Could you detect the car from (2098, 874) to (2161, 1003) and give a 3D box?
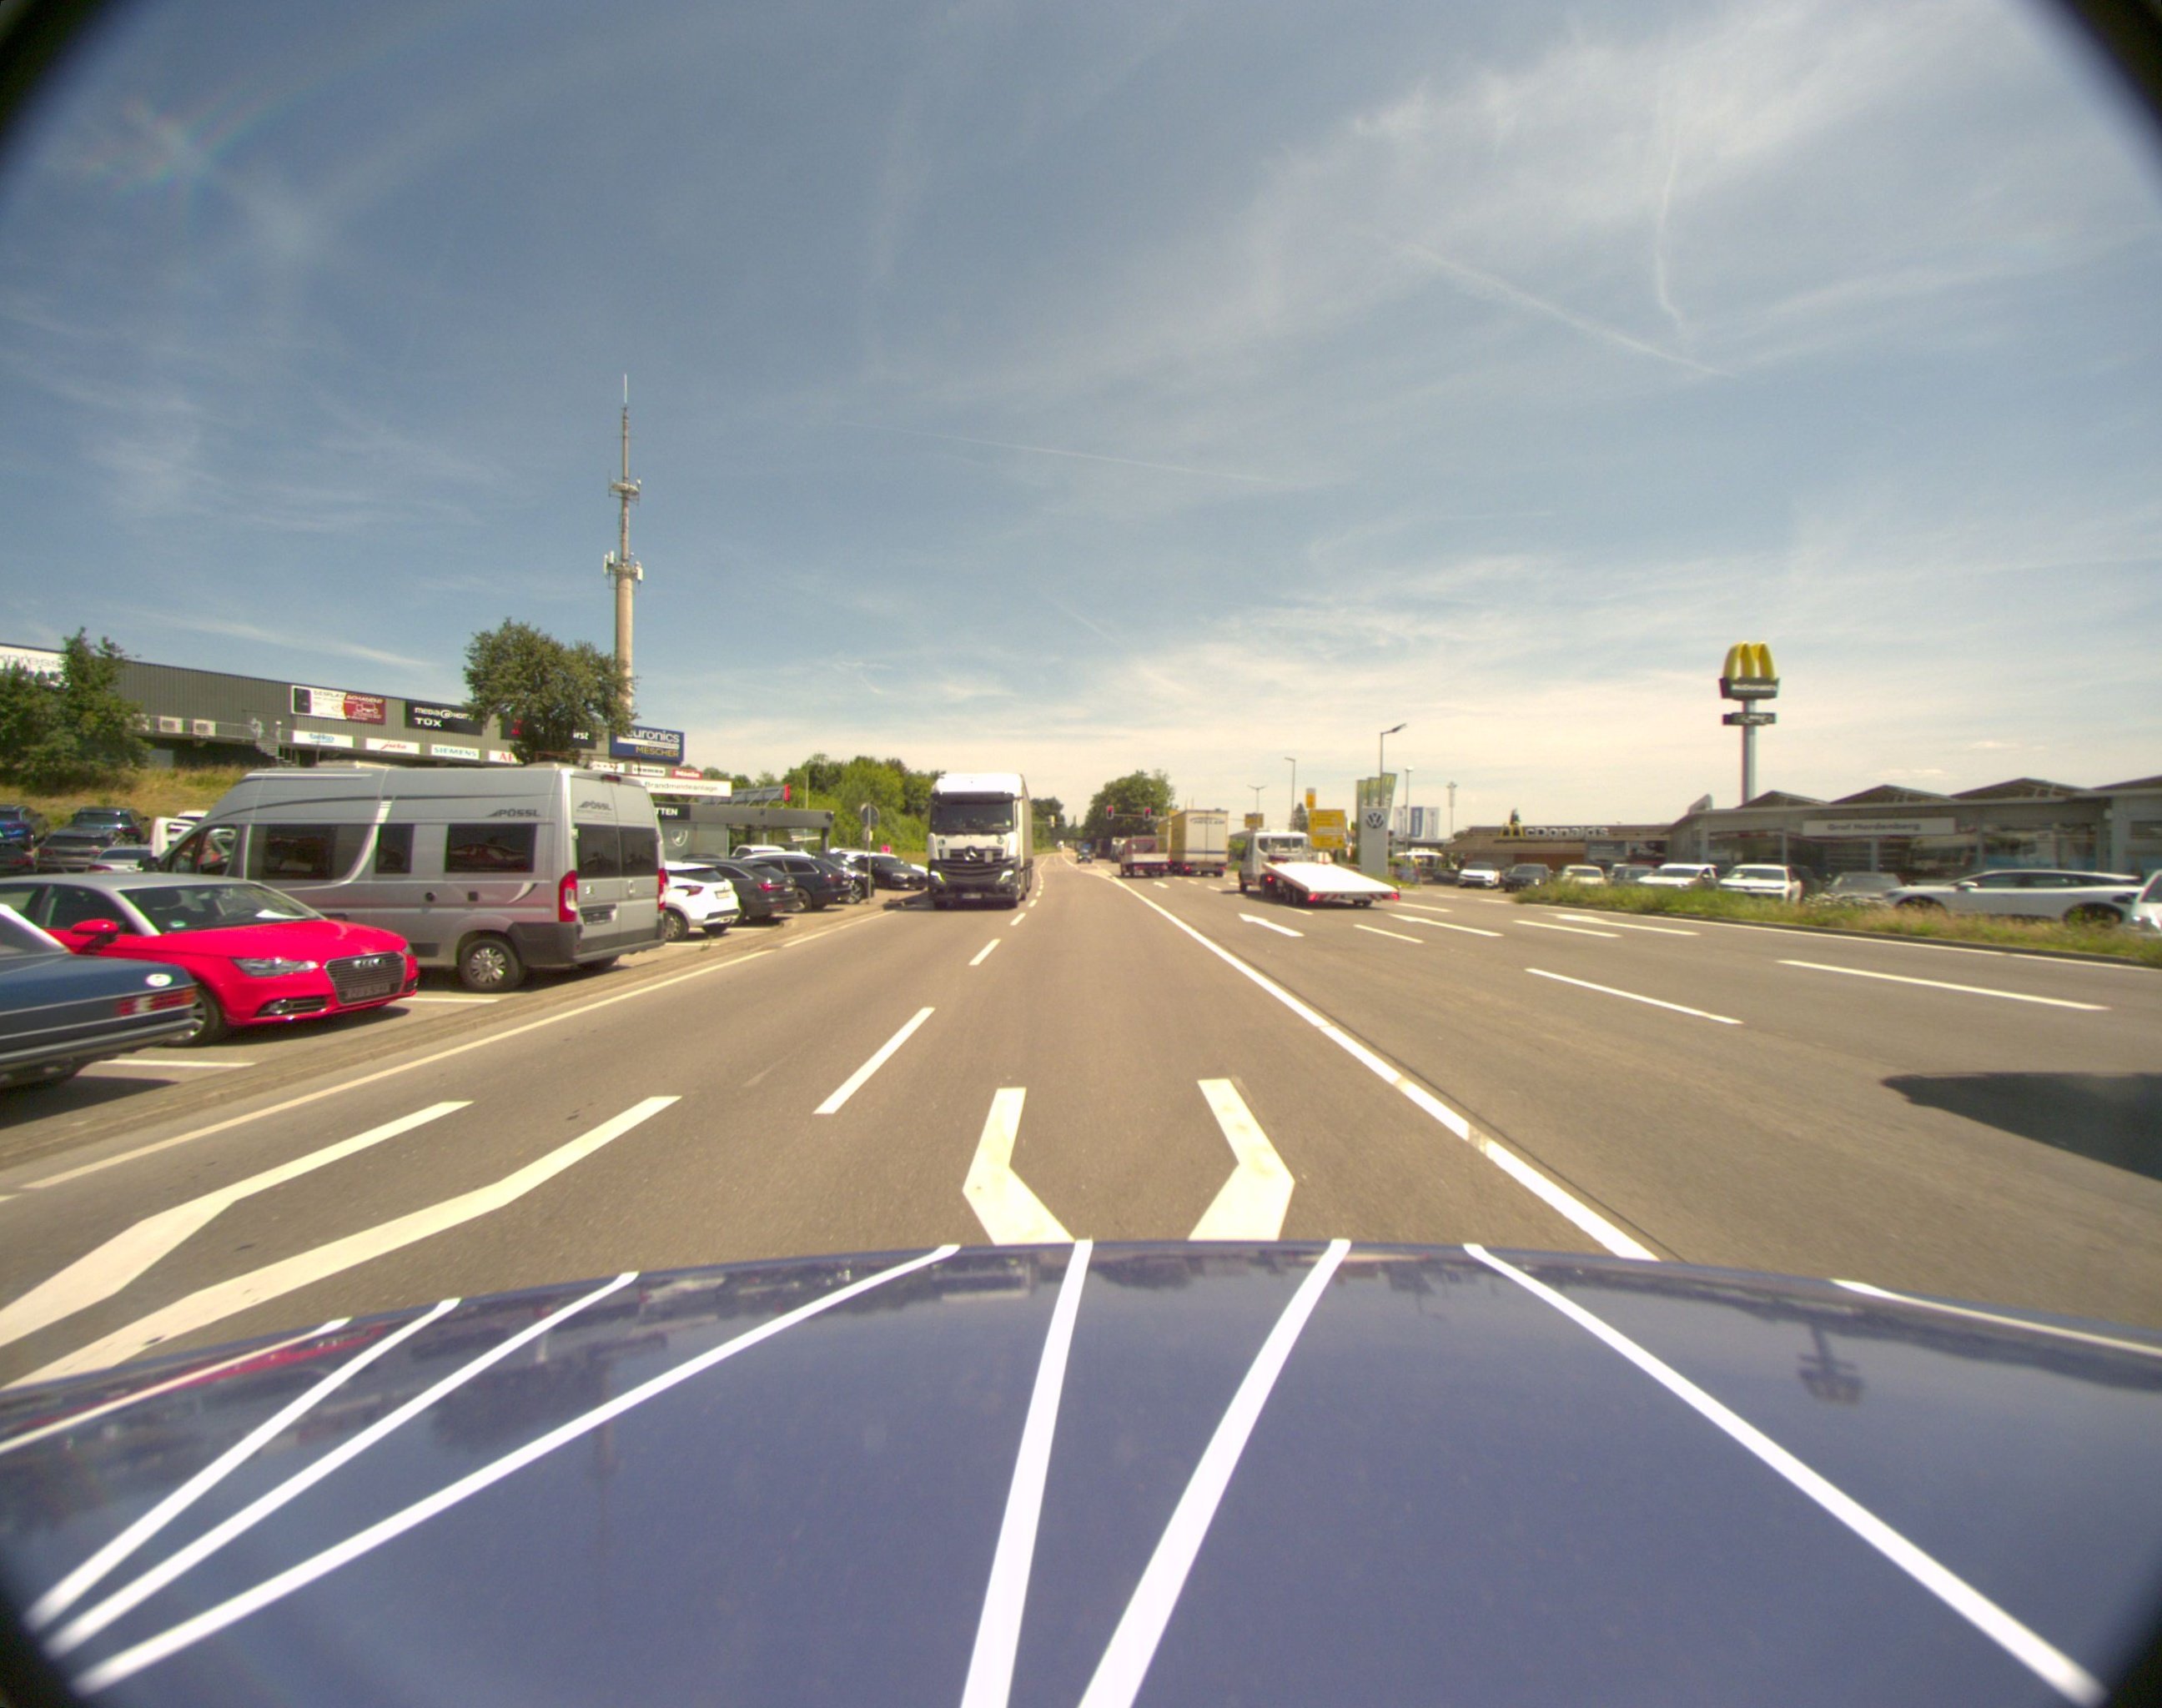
[{"bbox_3d":[16.983,1.214,11.282,3.875,1.740,1.870,0,1,-31],"label":"car"}]

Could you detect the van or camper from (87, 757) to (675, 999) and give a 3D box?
[{"bbox_3d":[-8.581,0.277,9.762,5.488,2.714,2.232,0,1,2],"label":"van or camper"}]

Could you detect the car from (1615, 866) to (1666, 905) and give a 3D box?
[{"bbox_3d":[23.528,1.274,32.007,1.608,1.471,4.112,1,1,36],"label":"car"}]

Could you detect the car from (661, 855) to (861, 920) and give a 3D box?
[{"bbox_3d":[-8.243,0.830,19.941,4.338,1.490,2.081,-1,1,-3],"label":"car"}]

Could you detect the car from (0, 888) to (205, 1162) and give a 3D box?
[{"bbox_3d":[-8.436,1.000,4.463,4.525,1.510,1.782,0,1,1],"label":"car"}]

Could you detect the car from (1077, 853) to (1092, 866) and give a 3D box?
[{"bbox_3d":[0.475,0.727,103.770,1.928,1.601,4.509,-1,1,-1],"label":"car"}]

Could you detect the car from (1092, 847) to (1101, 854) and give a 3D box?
[{"bbox_3d":[3.261,-0.746,157.797,1.688,1.489,3.954,3,1,0],"label":"car"}]

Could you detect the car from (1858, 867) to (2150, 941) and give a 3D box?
[{"bbox_3d":[23.764,1.188,19.807,1.827,1.565,4.665,0,1,-37],"label":"car"}]

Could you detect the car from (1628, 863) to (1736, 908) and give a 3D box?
[{"bbox_3d":[22.404,1.128,28.289,4.147,1.536,1.818,0,1,-32],"label":"car"}]

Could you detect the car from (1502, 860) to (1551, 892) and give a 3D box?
[{"bbox_3d":[22.779,1.073,38.763,1.772,1.471,4.009,1,1,36],"label":"car"}]

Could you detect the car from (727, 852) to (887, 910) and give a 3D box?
[{"bbox_3d":[-8.340,0.757,23.170,4.346,1.615,2.057,0,1,-28],"label":"car"}]

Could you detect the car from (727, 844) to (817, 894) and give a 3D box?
[{"bbox_3d":[-12.497,0.539,30.571,1.858,1.704,4.135,1,3,-45],"label":"car"}]

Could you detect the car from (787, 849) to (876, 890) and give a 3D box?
[{"bbox_3d":[-10.602,0.613,32.165,1.858,1.412,4.152,1,3,-45],"label":"car"}]

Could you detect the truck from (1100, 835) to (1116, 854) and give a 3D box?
[{"bbox_3d":[5.896,-2.192,167.209,2.851,3.932,17.083,0,1,0],"label":"truck"}]

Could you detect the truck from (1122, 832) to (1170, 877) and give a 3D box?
[{"bbox_3d":[3.833,-0.019,46.064,2.402,2.431,6.871,-1,1,1],"label":"truck"}]

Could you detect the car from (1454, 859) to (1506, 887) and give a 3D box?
[{"bbox_3d":[23.035,1.054,43.802,2.121,1.471,4.009,1,1,36],"label":"car"}]

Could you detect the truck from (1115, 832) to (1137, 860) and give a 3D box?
[{"bbox_3d":[6.808,-1.227,117.876,2.611,3.995,15.129,-1,0,1],"label":"truck"}]

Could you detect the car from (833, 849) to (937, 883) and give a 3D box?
[{"bbox_3d":[-9.526,0.594,37.063,4.486,1.401,1.741,4,-1,-33],"label":"car"}]

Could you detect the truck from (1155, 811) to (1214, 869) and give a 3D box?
[{"bbox_3d":[7.713,-1.011,57.848,3.036,4.081,10.353,0,1,0],"label":"truck"}]

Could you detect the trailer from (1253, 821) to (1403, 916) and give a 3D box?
[{"bbox_3d":[7.021,0.330,22.692,2.434,2.325,6.897,1,1,2],"label":"trailer"}]

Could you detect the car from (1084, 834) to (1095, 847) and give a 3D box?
[{"bbox_3d":[2.859,-4.431,244.694,3.351,4.057,7.692,0,1,2],"label":"car"}]

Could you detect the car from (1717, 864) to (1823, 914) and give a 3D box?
[{"bbox_3d":[23.716,1.144,26.126,4.008,1.565,1.818,0,1,-35],"label":"car"}]

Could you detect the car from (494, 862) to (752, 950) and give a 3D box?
[{"bbox_3d":[-8.646,0.955,14.579,3.817,1.490,1.854,-1,1,3],"label":"car"}]

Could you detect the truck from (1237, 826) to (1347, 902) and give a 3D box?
[{"bbox_3d":[7.190,0.288,26.604,2.431,2.327,5.675,1,0,2],"label":"truck"}]

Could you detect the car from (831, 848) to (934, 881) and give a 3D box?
[{"bbox_3d":[-10.344,0.591,39.783,4.750,1.543,1.994,3,-1,-40],"label":"car"}]

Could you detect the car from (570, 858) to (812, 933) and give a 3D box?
[{"bbox_3d":[-8.628,0.883,17.157,4.338,1.490,2.081,-1,1,-3],"label":"car"}]

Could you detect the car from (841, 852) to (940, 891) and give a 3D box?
[{"bbox_3d":[-8.492,0.713,33.582,1.932,1.379,4.918,1,3,-45],"label":"car"}]

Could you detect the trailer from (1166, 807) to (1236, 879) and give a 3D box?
[{"bbox_3d":[7.666,-0.682,50.002,3.019,4.262,10.057,0,1,0],"label":"trailer"}]

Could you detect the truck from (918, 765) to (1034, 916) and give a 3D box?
[{"bbox_3d":[-3.009,-0.381,23.581,2.982,3.987,6.324,1,1,-3],"label":"truck"}]

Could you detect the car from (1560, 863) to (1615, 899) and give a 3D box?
[{"bbox_3d":[22.518,1.164,33.725,1.765,1.407,3.991,1,1,37],"label":"car"}]

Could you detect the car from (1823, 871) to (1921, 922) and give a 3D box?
[{"bbox_3d":[25.029,1.272,24.000,4.180,1.403,1.818,0,1,-40],"label":"car"}]

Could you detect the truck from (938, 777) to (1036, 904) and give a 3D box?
[{"bbox_3d":[-3.445,-0.483,31.496,2.982,3.987,14.117,1,0,-3],"label":"truck"}]

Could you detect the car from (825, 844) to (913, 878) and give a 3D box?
[{"bbox_3d":[-11.599,0.404,41.674,4.184,1.681,1.879,2,0,-38],"label":"car"}]

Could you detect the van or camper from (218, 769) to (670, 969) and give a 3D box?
[{"bbox_3d":[-9.932,0.230,12.223,5.381,2.889,2.232,0,1,2],"label":"van or camper"}]

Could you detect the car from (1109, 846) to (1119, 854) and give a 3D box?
[{"bbox_3d":[6.078,-0.703,139.916,1.688,1.420,4.153,2,1,0],"label":"car"}]

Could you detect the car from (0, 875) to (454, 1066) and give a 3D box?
[{"bbox_3d":[-8.385,0.982,7.131,3.549,1.485,1.756,0,1,1],"label":"car"}]
